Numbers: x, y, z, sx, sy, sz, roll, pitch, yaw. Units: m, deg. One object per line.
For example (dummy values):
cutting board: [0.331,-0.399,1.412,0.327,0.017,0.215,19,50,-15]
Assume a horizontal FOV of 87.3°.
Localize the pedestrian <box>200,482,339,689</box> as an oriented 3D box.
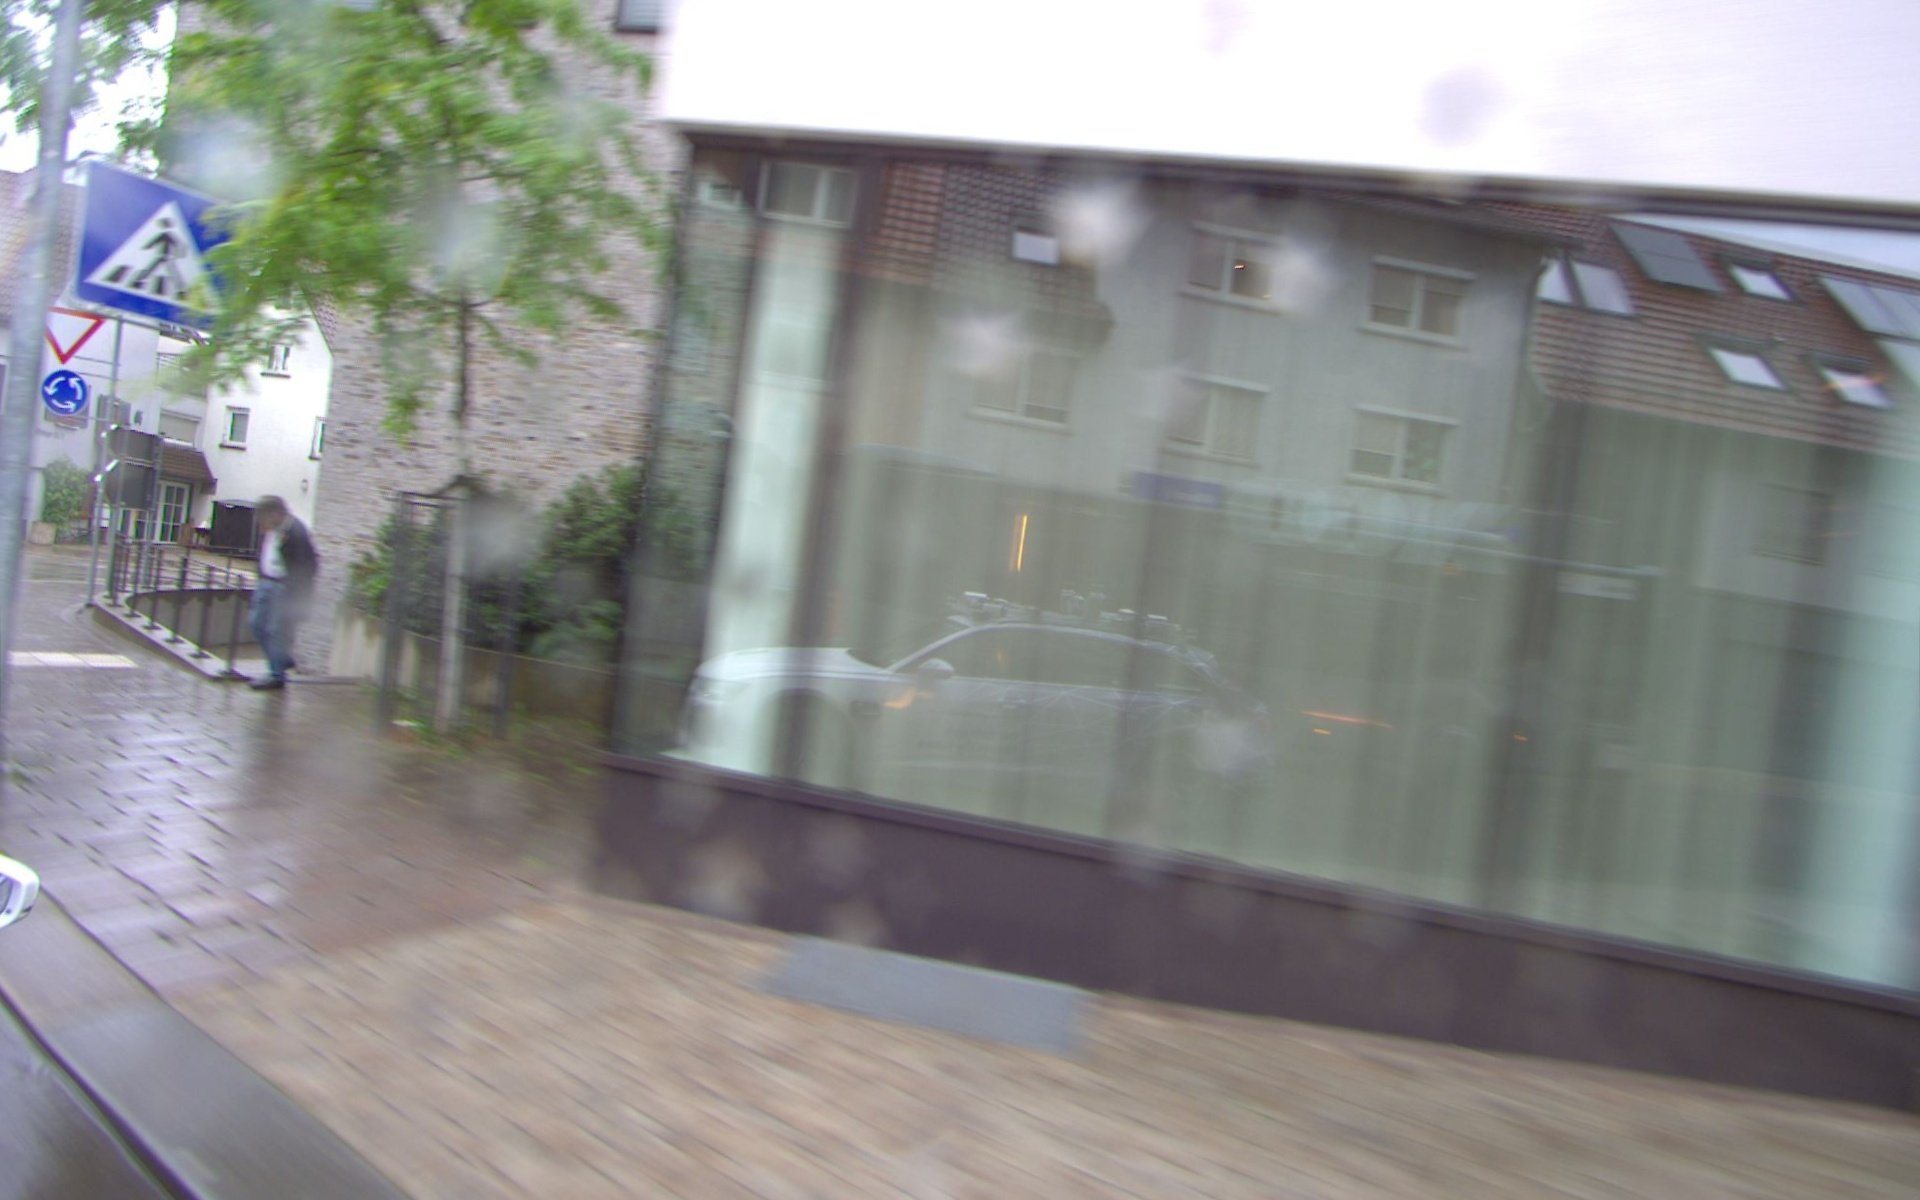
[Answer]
pedestrian: [-5.800,-0.121,8.462,0.691,1.627,0.584,7,2,22]
